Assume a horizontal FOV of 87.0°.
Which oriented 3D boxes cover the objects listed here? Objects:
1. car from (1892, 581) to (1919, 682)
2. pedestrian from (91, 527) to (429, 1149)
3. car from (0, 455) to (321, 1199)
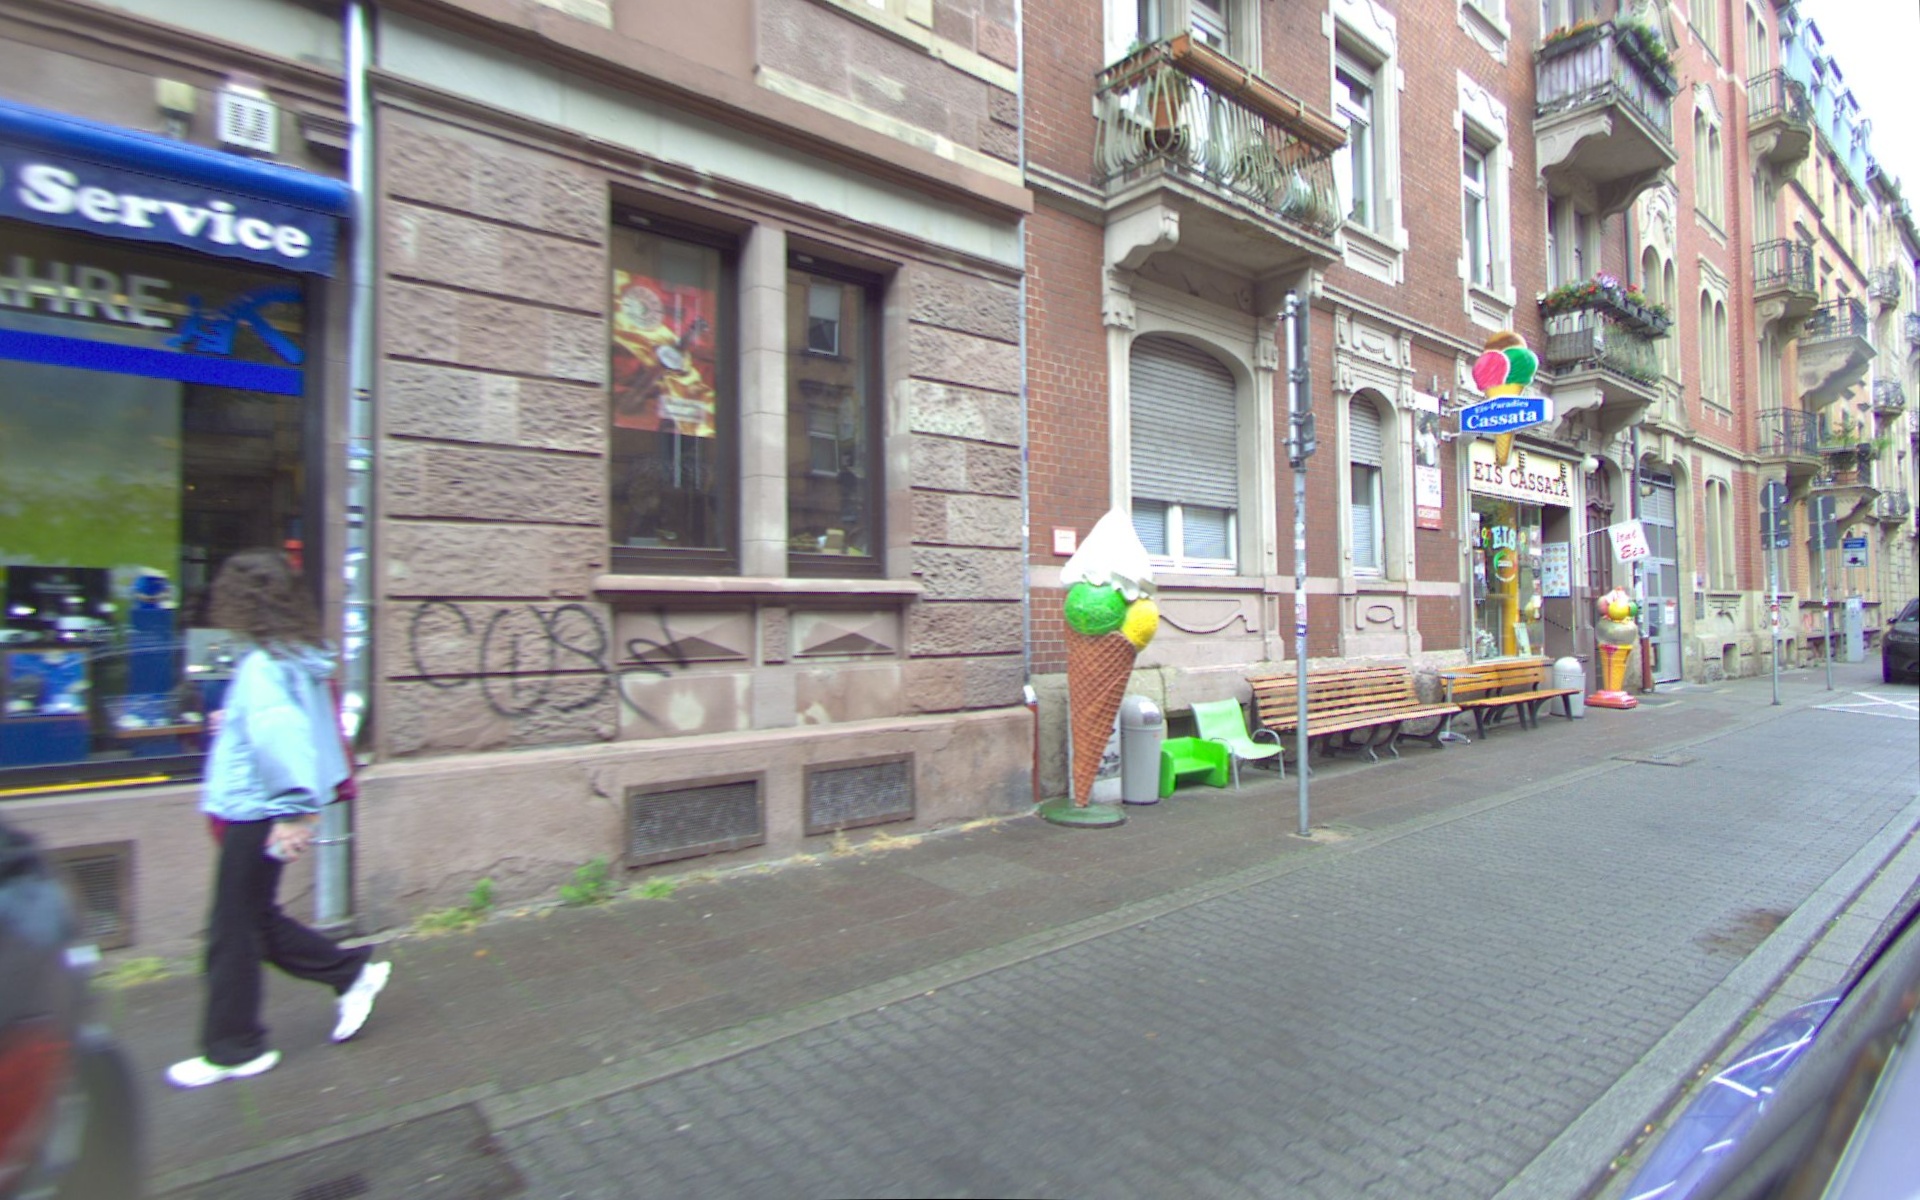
[{"bbox_3d":[19.431,0.548,19.278,4.743,1.802,1.996,0,-1,-42],"label":"car"},{"bbox_3d":[-2.193,0.624,3.186,0.795,1.634,0.680,0,-1,-40],"label":"pedestrian"},{"bbox_3d":[-2.654,0.685,0.313,3.934,1.565,1.843,0,-1,-42],"label":"car"}]
